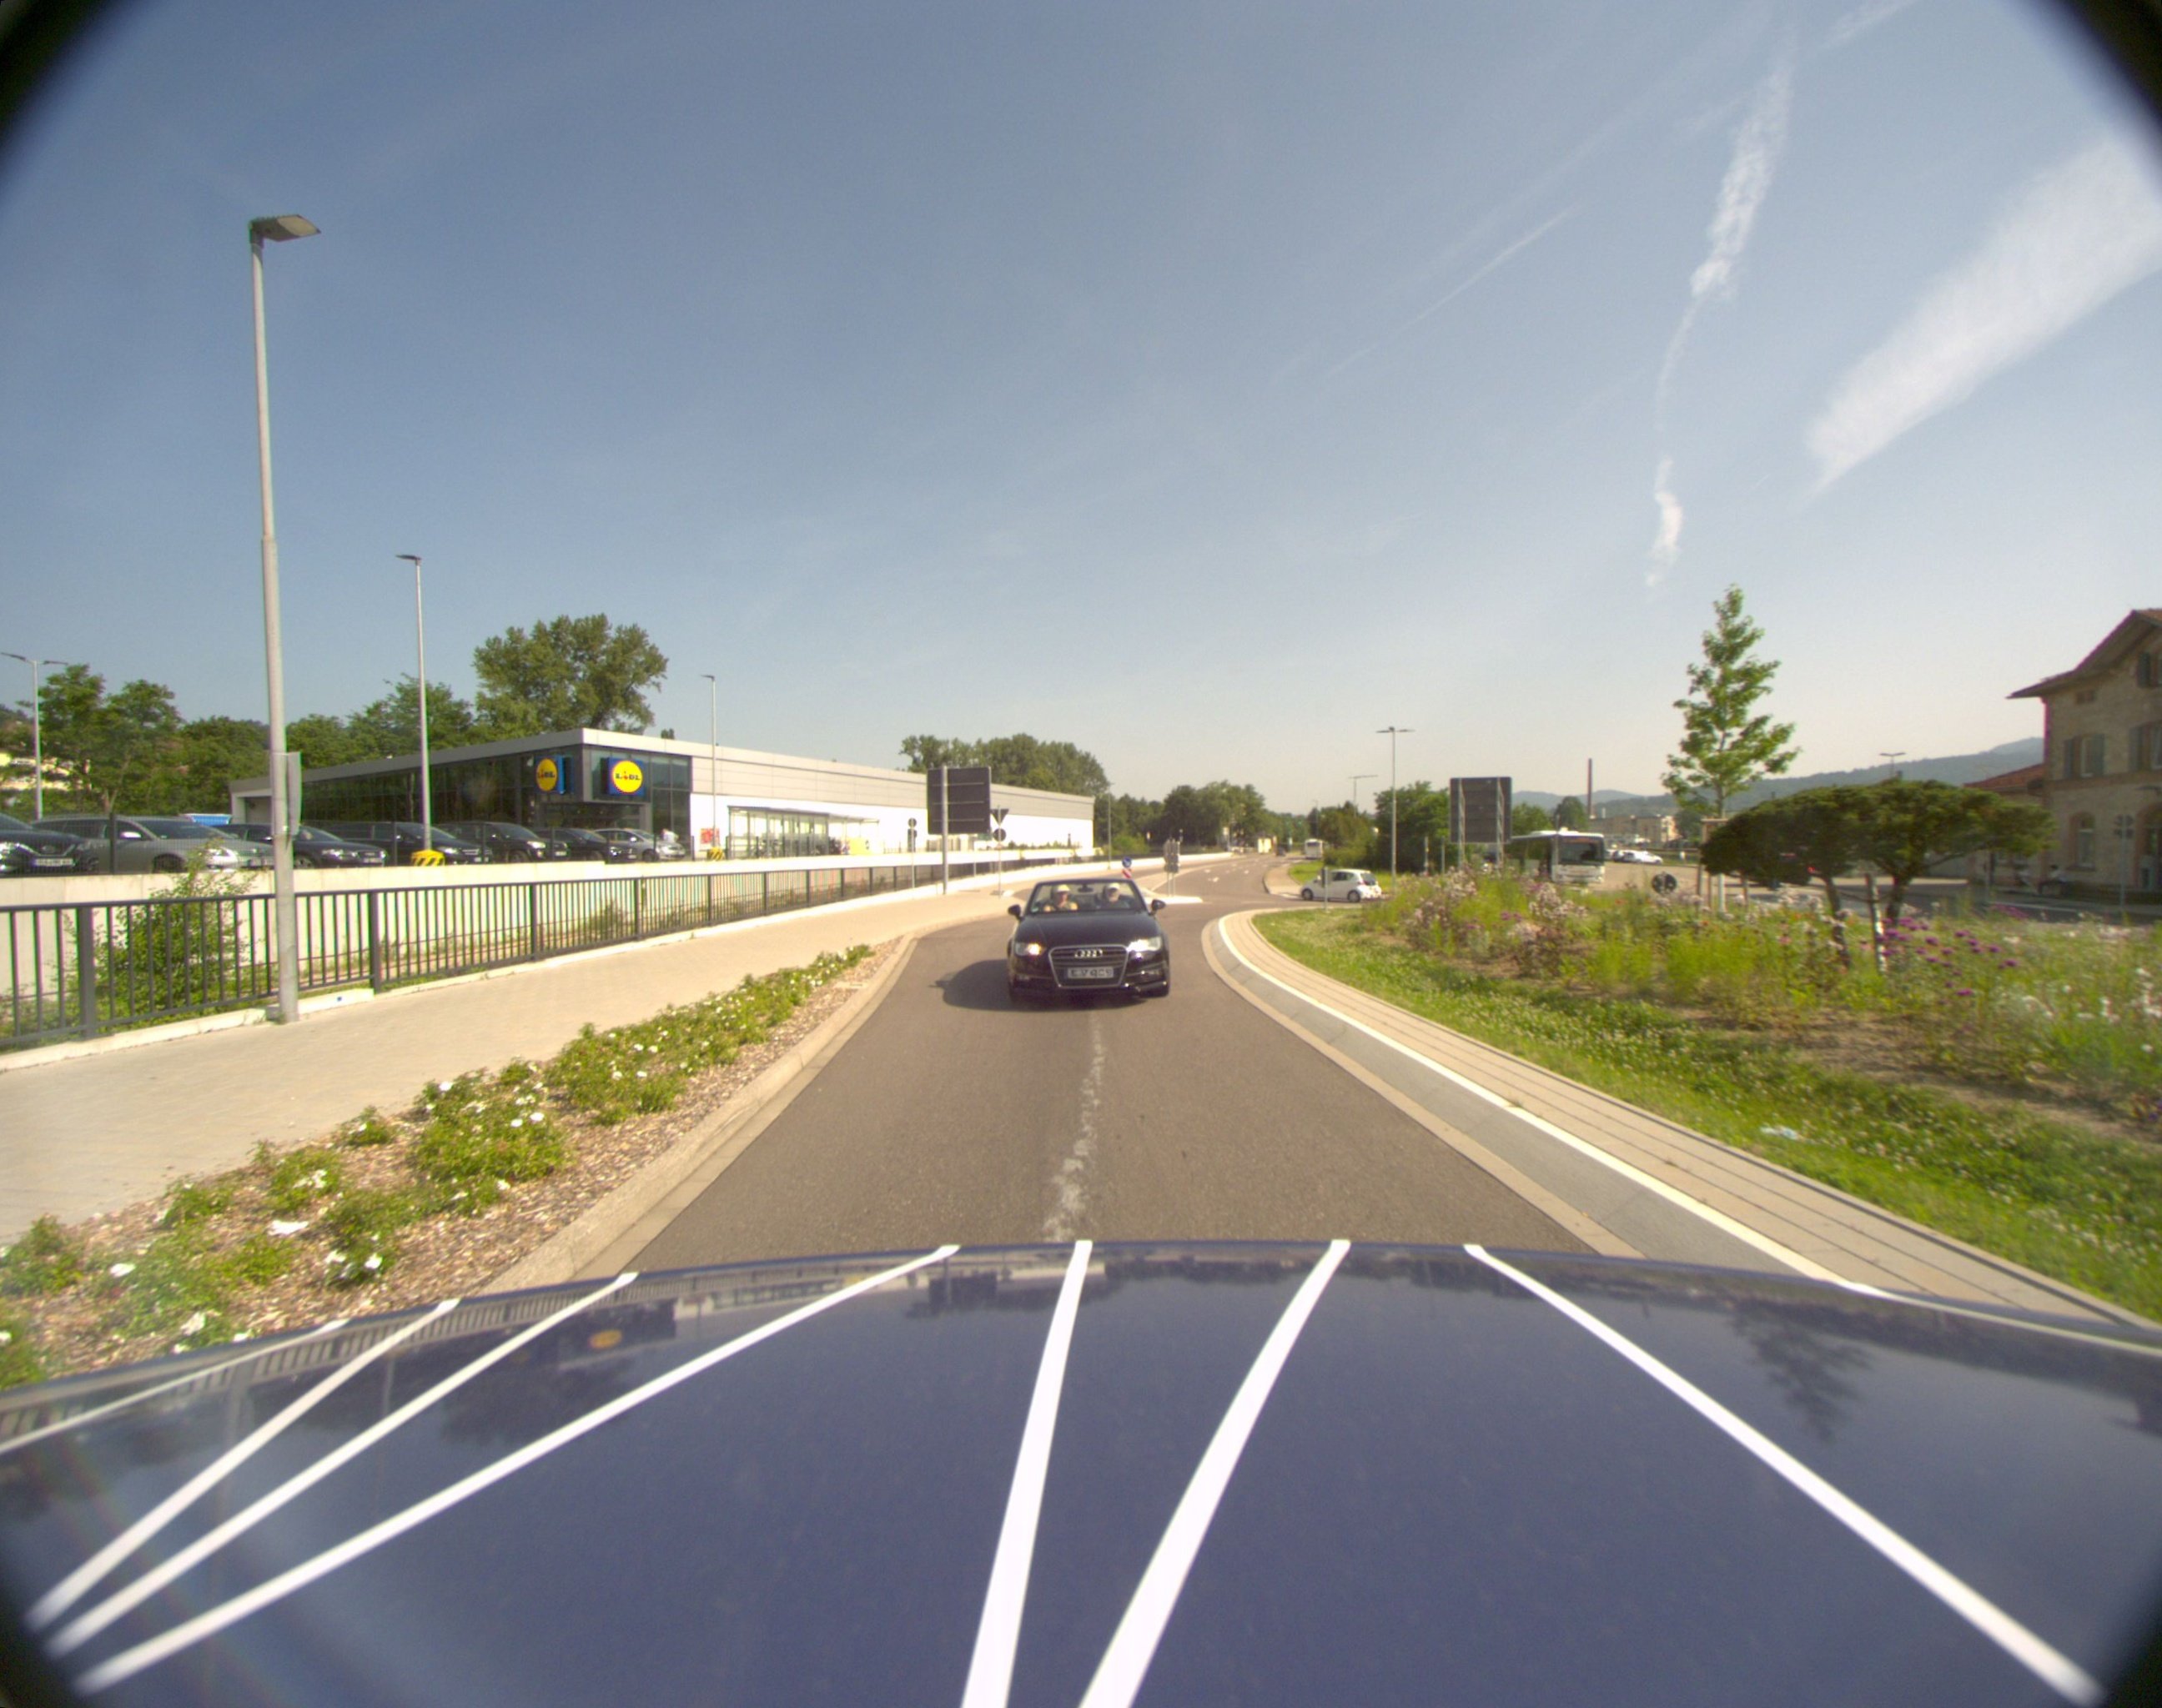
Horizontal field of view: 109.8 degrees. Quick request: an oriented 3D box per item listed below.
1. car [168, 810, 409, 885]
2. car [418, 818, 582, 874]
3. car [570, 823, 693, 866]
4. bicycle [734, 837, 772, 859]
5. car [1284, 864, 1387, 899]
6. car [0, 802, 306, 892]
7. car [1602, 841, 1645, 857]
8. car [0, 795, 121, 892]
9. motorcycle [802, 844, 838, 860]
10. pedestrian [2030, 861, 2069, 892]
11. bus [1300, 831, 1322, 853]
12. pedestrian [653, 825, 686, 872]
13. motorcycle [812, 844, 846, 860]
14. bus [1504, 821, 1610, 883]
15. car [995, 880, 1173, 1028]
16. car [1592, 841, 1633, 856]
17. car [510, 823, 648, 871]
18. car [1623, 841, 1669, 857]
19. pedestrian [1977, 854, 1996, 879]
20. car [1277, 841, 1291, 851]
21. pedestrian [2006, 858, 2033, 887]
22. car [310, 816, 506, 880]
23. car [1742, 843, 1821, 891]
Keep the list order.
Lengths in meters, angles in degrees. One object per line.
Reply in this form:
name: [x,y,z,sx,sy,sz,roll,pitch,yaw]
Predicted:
car: [-19.060,-0.152,18.405,3.997,1.565,1.704,-3,1,1]
car: [-18.961,-0.252,24.920,3.997,1.565,1.704,-3,1,1]
car: [-18.923,-0.389,32.121,4.128,1.565,1.704,-3,1,1]
bicycle: [-17.017,-0.318,39.454,0.625,1.087,1.881,-2,0,18]
car: [11.357,1.197,34.106,1.785,1.390,3.990,-3,1,-37]
car: [-19.181,-0.133,15.759,4.412,1.565,1.704,-3,1,1]
car: [68.847,-0.637,96.516,3.995,1.717,1.839,-3,1,7]
car: [-19.720,-0.095,13.152,3.997,1.565,1.704,-3,1,1]
motorcycle: [-15.274,-0.111,44.508,1.879,0.859,0.626,-3,1,-16]
pedestrian: [37.685,0.891,29.565,0.789,1.156,0.507,-2,1,26]
bus: [35.181,-1.855,116.092,2.863,3.174,9.129,-1,1,19]
pedestrian: [-18.148,-0.227,33.515,0.831,2.002,0.864,-2,1,17]
motorcycle: [-15.088,-0.125,45.602,1.879,0.859,0.626,-3,1,-16]
bus: [28.811,-0.186,46.550,2.583,3.309,10.600,-3,0,16]
car: [-0.023,1.064,9.677,1.721,1.314,4.224,-2,-1,-1]
car: [70.557,-0.738,100.940,3.995,1.717,1.839,-3,1,7]
car: [-18.875,-0.274,28.668,3.997,1.565,1.704,-3,1,1]
car: [67.975,-0.570,91.477,3.995,1.717,1.839,-3,1,7]
pedestrian: [41.863,0.572,35.139,0.371,1.156,0.507,-2,1,26]
car: [37.377,-1.485,139.799,1.884,1.783,4.002,-3,0,8]
pedestrian: [38.656,0.743,31.291,0.511,1.156,0.507,-2,1,26]
car: [-18.999,-0.170,21.570,3.997,1.565,1.704,-3,1,1]
car: [32.964,0.561,35.890,1.973,1.953,5.167,-2,1,34]
